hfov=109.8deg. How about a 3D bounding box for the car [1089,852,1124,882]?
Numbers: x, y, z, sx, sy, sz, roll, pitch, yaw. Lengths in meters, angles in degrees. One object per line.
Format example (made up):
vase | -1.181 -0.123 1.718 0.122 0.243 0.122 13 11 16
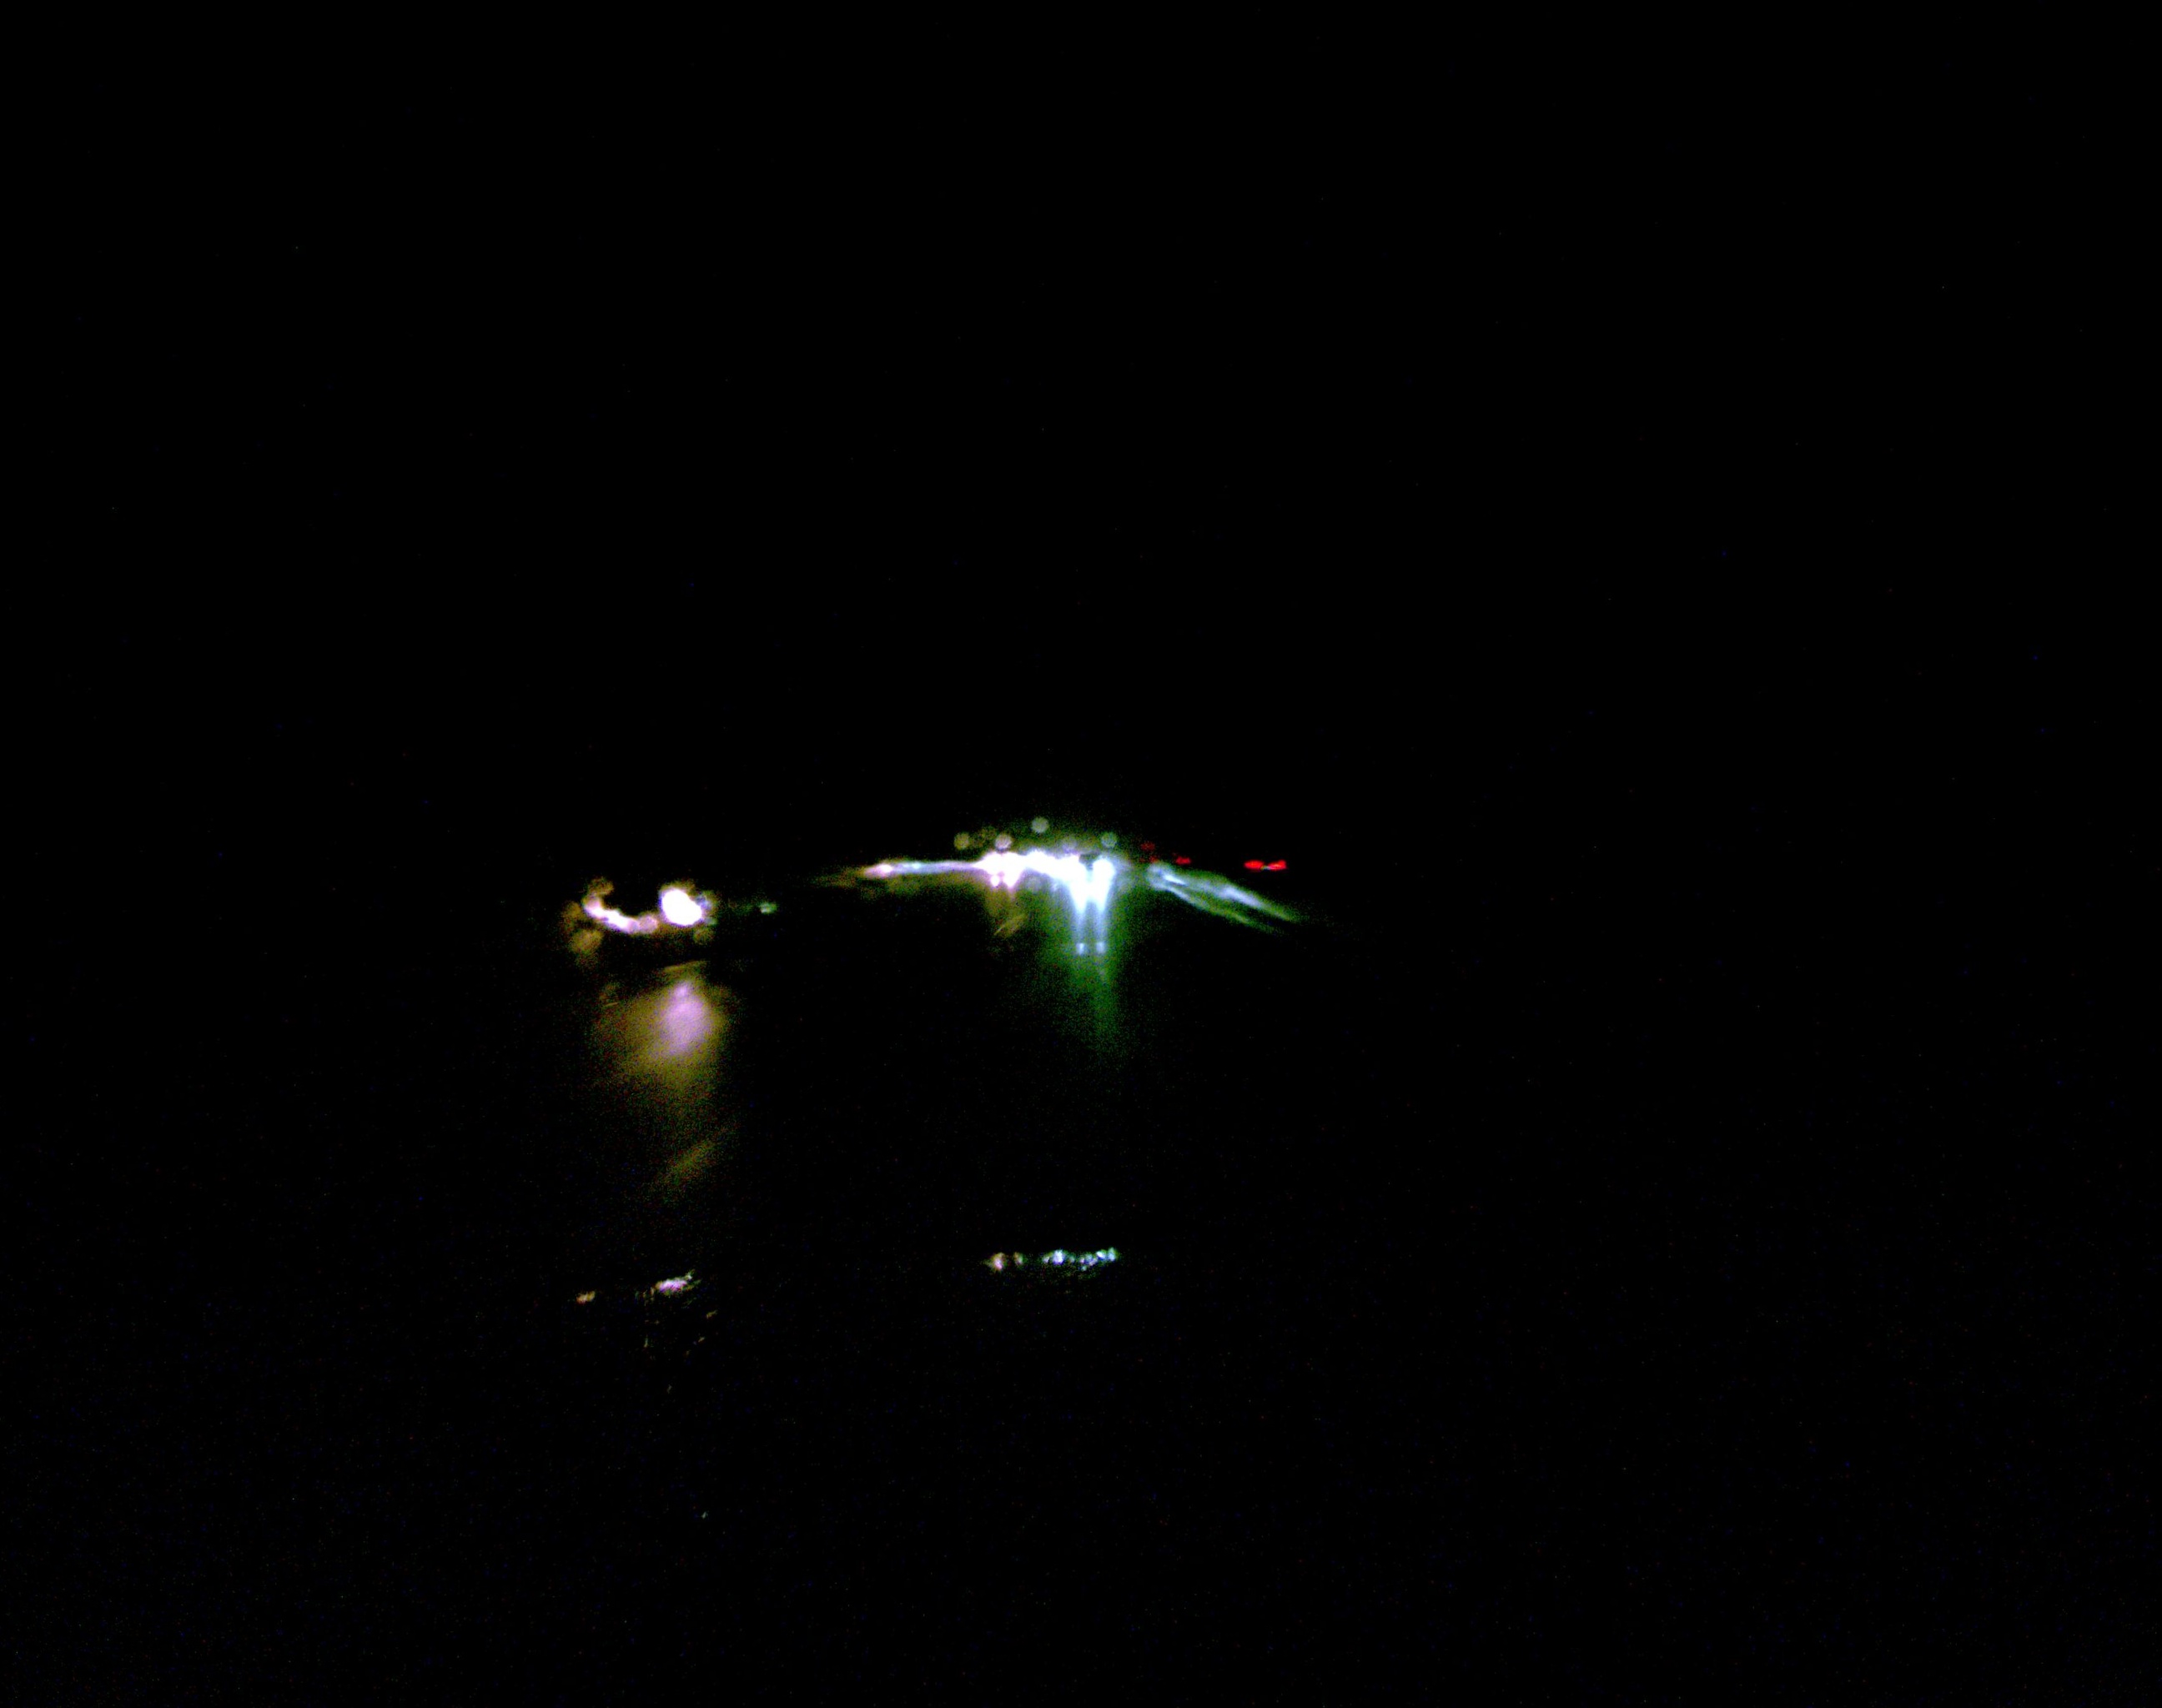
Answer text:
car | 1.615 0.788 46.348 1.882 1.654 4.002 -2 -1 4

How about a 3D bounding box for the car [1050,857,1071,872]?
car | -2.379 1.267 89.192 1.882 1.654 4.002 -2 -1 4

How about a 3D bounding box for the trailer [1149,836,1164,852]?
trailer | 20.955 -2.576 211.033 2.697 4.196 15.644 -2 0 1

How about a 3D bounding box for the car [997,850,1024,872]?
car | -6.122 0.637 66.492 1.832 1.835 4.699 -2 -1 1

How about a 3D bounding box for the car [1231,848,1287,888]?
car | 9.364 0.703 40.358 1.998 2.002 4.450 0 0 1

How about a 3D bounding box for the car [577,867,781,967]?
car | -7.159 1.030 14.050 1.644 1.494 4.013 -1 0 0

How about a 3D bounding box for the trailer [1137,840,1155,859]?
trailer | 15.705 -1.119 183.298 2.697 4.352 14.629 -2 0 -1

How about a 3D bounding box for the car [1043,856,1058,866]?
car | -5.052 1.146 127.144 1.882 1.654 4.002 -2 -1 4
